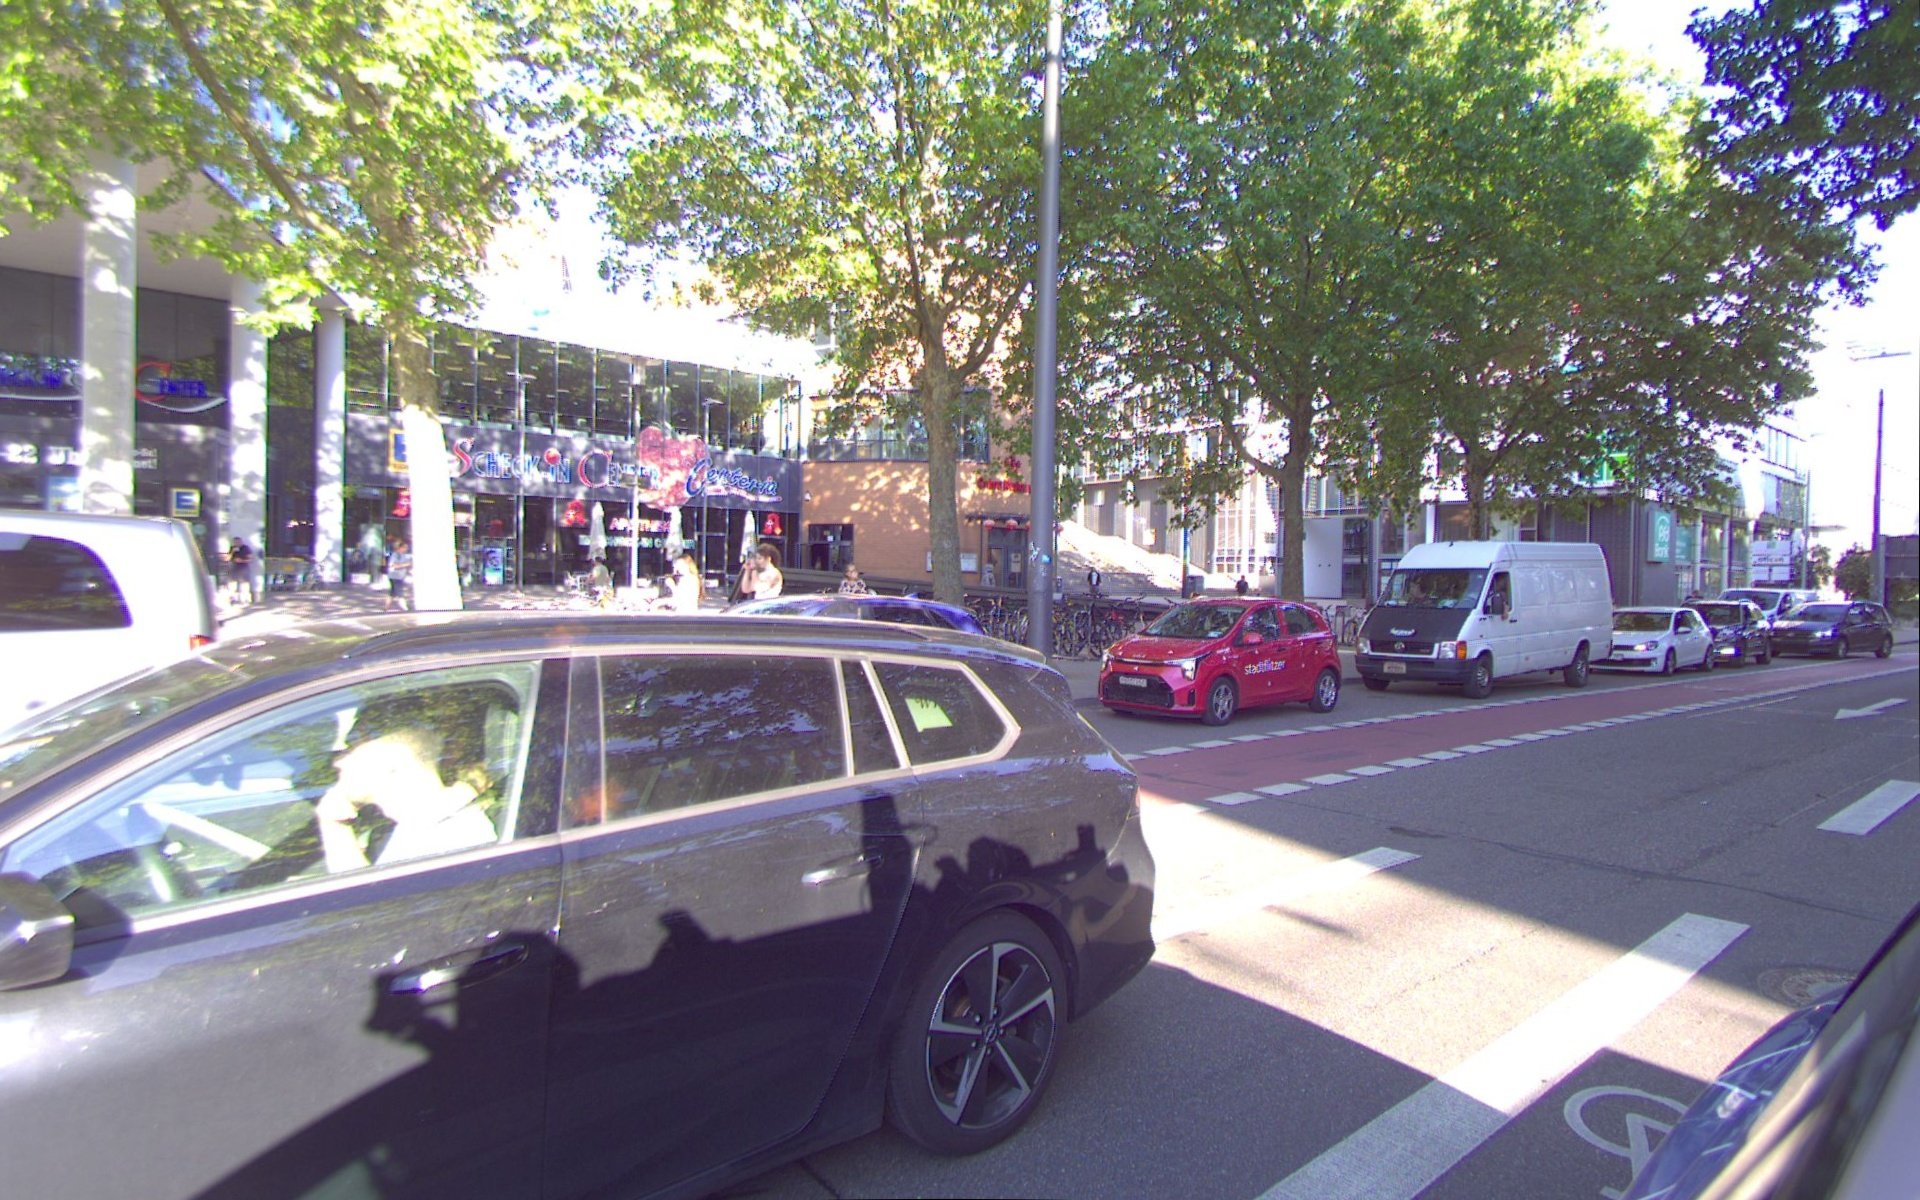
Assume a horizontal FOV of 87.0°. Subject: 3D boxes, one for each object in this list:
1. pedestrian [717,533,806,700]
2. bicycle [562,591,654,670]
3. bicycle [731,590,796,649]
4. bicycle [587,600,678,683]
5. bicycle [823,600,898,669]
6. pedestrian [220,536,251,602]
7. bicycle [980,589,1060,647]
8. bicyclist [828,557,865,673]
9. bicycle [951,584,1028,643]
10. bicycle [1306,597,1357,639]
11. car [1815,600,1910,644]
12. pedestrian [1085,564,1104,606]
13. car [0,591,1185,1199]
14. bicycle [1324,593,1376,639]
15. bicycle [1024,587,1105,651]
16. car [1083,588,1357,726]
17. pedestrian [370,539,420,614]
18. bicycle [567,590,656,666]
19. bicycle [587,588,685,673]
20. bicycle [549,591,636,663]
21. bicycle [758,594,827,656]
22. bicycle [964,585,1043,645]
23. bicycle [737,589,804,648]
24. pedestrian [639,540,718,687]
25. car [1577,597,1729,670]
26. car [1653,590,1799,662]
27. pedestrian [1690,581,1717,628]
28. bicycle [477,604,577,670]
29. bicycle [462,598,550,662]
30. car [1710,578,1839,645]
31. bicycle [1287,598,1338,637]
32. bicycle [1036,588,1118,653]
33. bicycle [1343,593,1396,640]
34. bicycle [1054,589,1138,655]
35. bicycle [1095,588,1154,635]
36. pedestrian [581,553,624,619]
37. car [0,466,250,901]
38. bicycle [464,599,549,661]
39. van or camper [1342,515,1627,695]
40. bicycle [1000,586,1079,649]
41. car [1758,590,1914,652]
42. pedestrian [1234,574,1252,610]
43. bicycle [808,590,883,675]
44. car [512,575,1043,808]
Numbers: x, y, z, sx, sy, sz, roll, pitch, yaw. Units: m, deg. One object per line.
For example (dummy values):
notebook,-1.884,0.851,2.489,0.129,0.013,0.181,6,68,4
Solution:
pedestrian,-2.324,0.179,11.851,0.798,1.868,0.644,1,1,-36
bicycle,-5.155,0.425,14.845,1.202,1.110,0.396,0,1,-40
bicycle,-3.885,0.374,20.054,1.202,1.110,0.429,0,1,-40
bicycle,-4.578,0.566,14.186,1.202,1.110,0.269,0,1,-40
bicycle,-1.662,0.556,17.000,1.202,1.110,0.420,0,1,-40
pedestrian,-18.780,-0.801,26.239,0.506,1.707,0.604,1,1,-23
bicycle,1.258,0.353,20.974,1.818,1.139,0.484,0,2,-41
bicyclist,-1.766,0.229,15.785,0.392,1.782,0.390,0,1,-41
bicycle,0.639,0.273,21.707,1.818,1.209,0.434,0,1,-41
bicycle,10.311,0.481,28.050,1.766,1.108,0.522,0,2,-41
car,31.650,0.739,35.448,3.927,1.394,1.802,0,2,-38
pedestrian,6.567,-0.734,49.357,0.861,2.062,0.585,1,1,6
car,-1.439,0.696,2.458,4.196,1.432,1.742,0,0,-41
bicycle,10.668,0.426,27.637,1.818,1.209,0.495,0,2,-41
bicycle,2.113,0.364,20.265,1.818,1.209,0.484,0,1,-41
car,3.367,0.611,12.797,3.588,1.476,1.605,0,1,-41
pedestrian,-13.901,-0.572,24.924,0.872,1.805,0.602,1,1,6
bicycle,-5.357,0.407,15.594,0.372,1.110,1.269,2,1,41
bicycle,-4.433,0.400,13.889,1.202,1.110,0.413,0,1,-40
bicycle,-5.896,0.417,16.288,0.414,1.110,1.269,2,1,41
bicycle,-3.117,0.445,18.838,1.202,1.110,0.427,0,1,-40
bicycle,0.937,0.298,21.354,1.818,1.209,0.458,0,1,-41
bicycle,-3.640,0.345,19.511,1.202,1.110,0.444,0,1,-40
pedestrian,-3.580,0.153,12.870,0.750,1.799,0.648,1,1,-39
car,15.302,0.678,22.277,3.927,1.446,1.683,0,1,-38
car,19.215,0.593,25.337,4.148,1.640,1.819,0,1,-36
pedestrian,28.648,0.164,38.998,0.516,1.790,0.716,0,1,-39
bicycle,-6.236,0.520,14.602,1.231,0.898,0.462,0,1,-40
bicycle,-6.956,0.455,15.548,1.198,0.930,0.442,1,1,-22
car,26.490,0.346,32.878,4.863,2.020,1.968,0,1,-35
bicycle,9.928,0.469,28.460,1.818,1.046,0.515,0,2,-41
bicycle,2.301,0.389,19.756,1.818,1.209,0.448,0,1,-41
bicycle,11.036,0.421,27.238,1.818,1.209,0.521,0,2,-41
bicycle,2.623,0.400,19.371,1.818,1.209,0.481,0,1,-41
bicycle,4.410,0.307,27.051,1.759,1.209,0.517,0,2,-41
pedestrian,-9.479,-0.379,26.830,0.797,1.728,0.712,2,1,23
car,-6.222,0.358,4.363,5.008,2.004,1.940,0,2,-41
bicycle,-7.118,0.464,15.926,1.198,0.938,0.465,1,1,-22
van or camper,9.277,0.060,17.557,6.456,2.611,1.998,0,0,-39
bicycle,1.631,0.340,20.526,1.818,1.209,0.447,0,1,-41
car,25.262,0.582,29.177,4.242,1.640,1.970,0,1,-28
pedestrian,12.428,-0.360,44.420,0.707,1.578,0.638,1,1,14
bicycle,-1.783,0.490,15.791,1.126,1.271,0.379,0,1,-41
car,-1.379,0.585,8.671,4.177,1.503,1.742,0,2,-41
